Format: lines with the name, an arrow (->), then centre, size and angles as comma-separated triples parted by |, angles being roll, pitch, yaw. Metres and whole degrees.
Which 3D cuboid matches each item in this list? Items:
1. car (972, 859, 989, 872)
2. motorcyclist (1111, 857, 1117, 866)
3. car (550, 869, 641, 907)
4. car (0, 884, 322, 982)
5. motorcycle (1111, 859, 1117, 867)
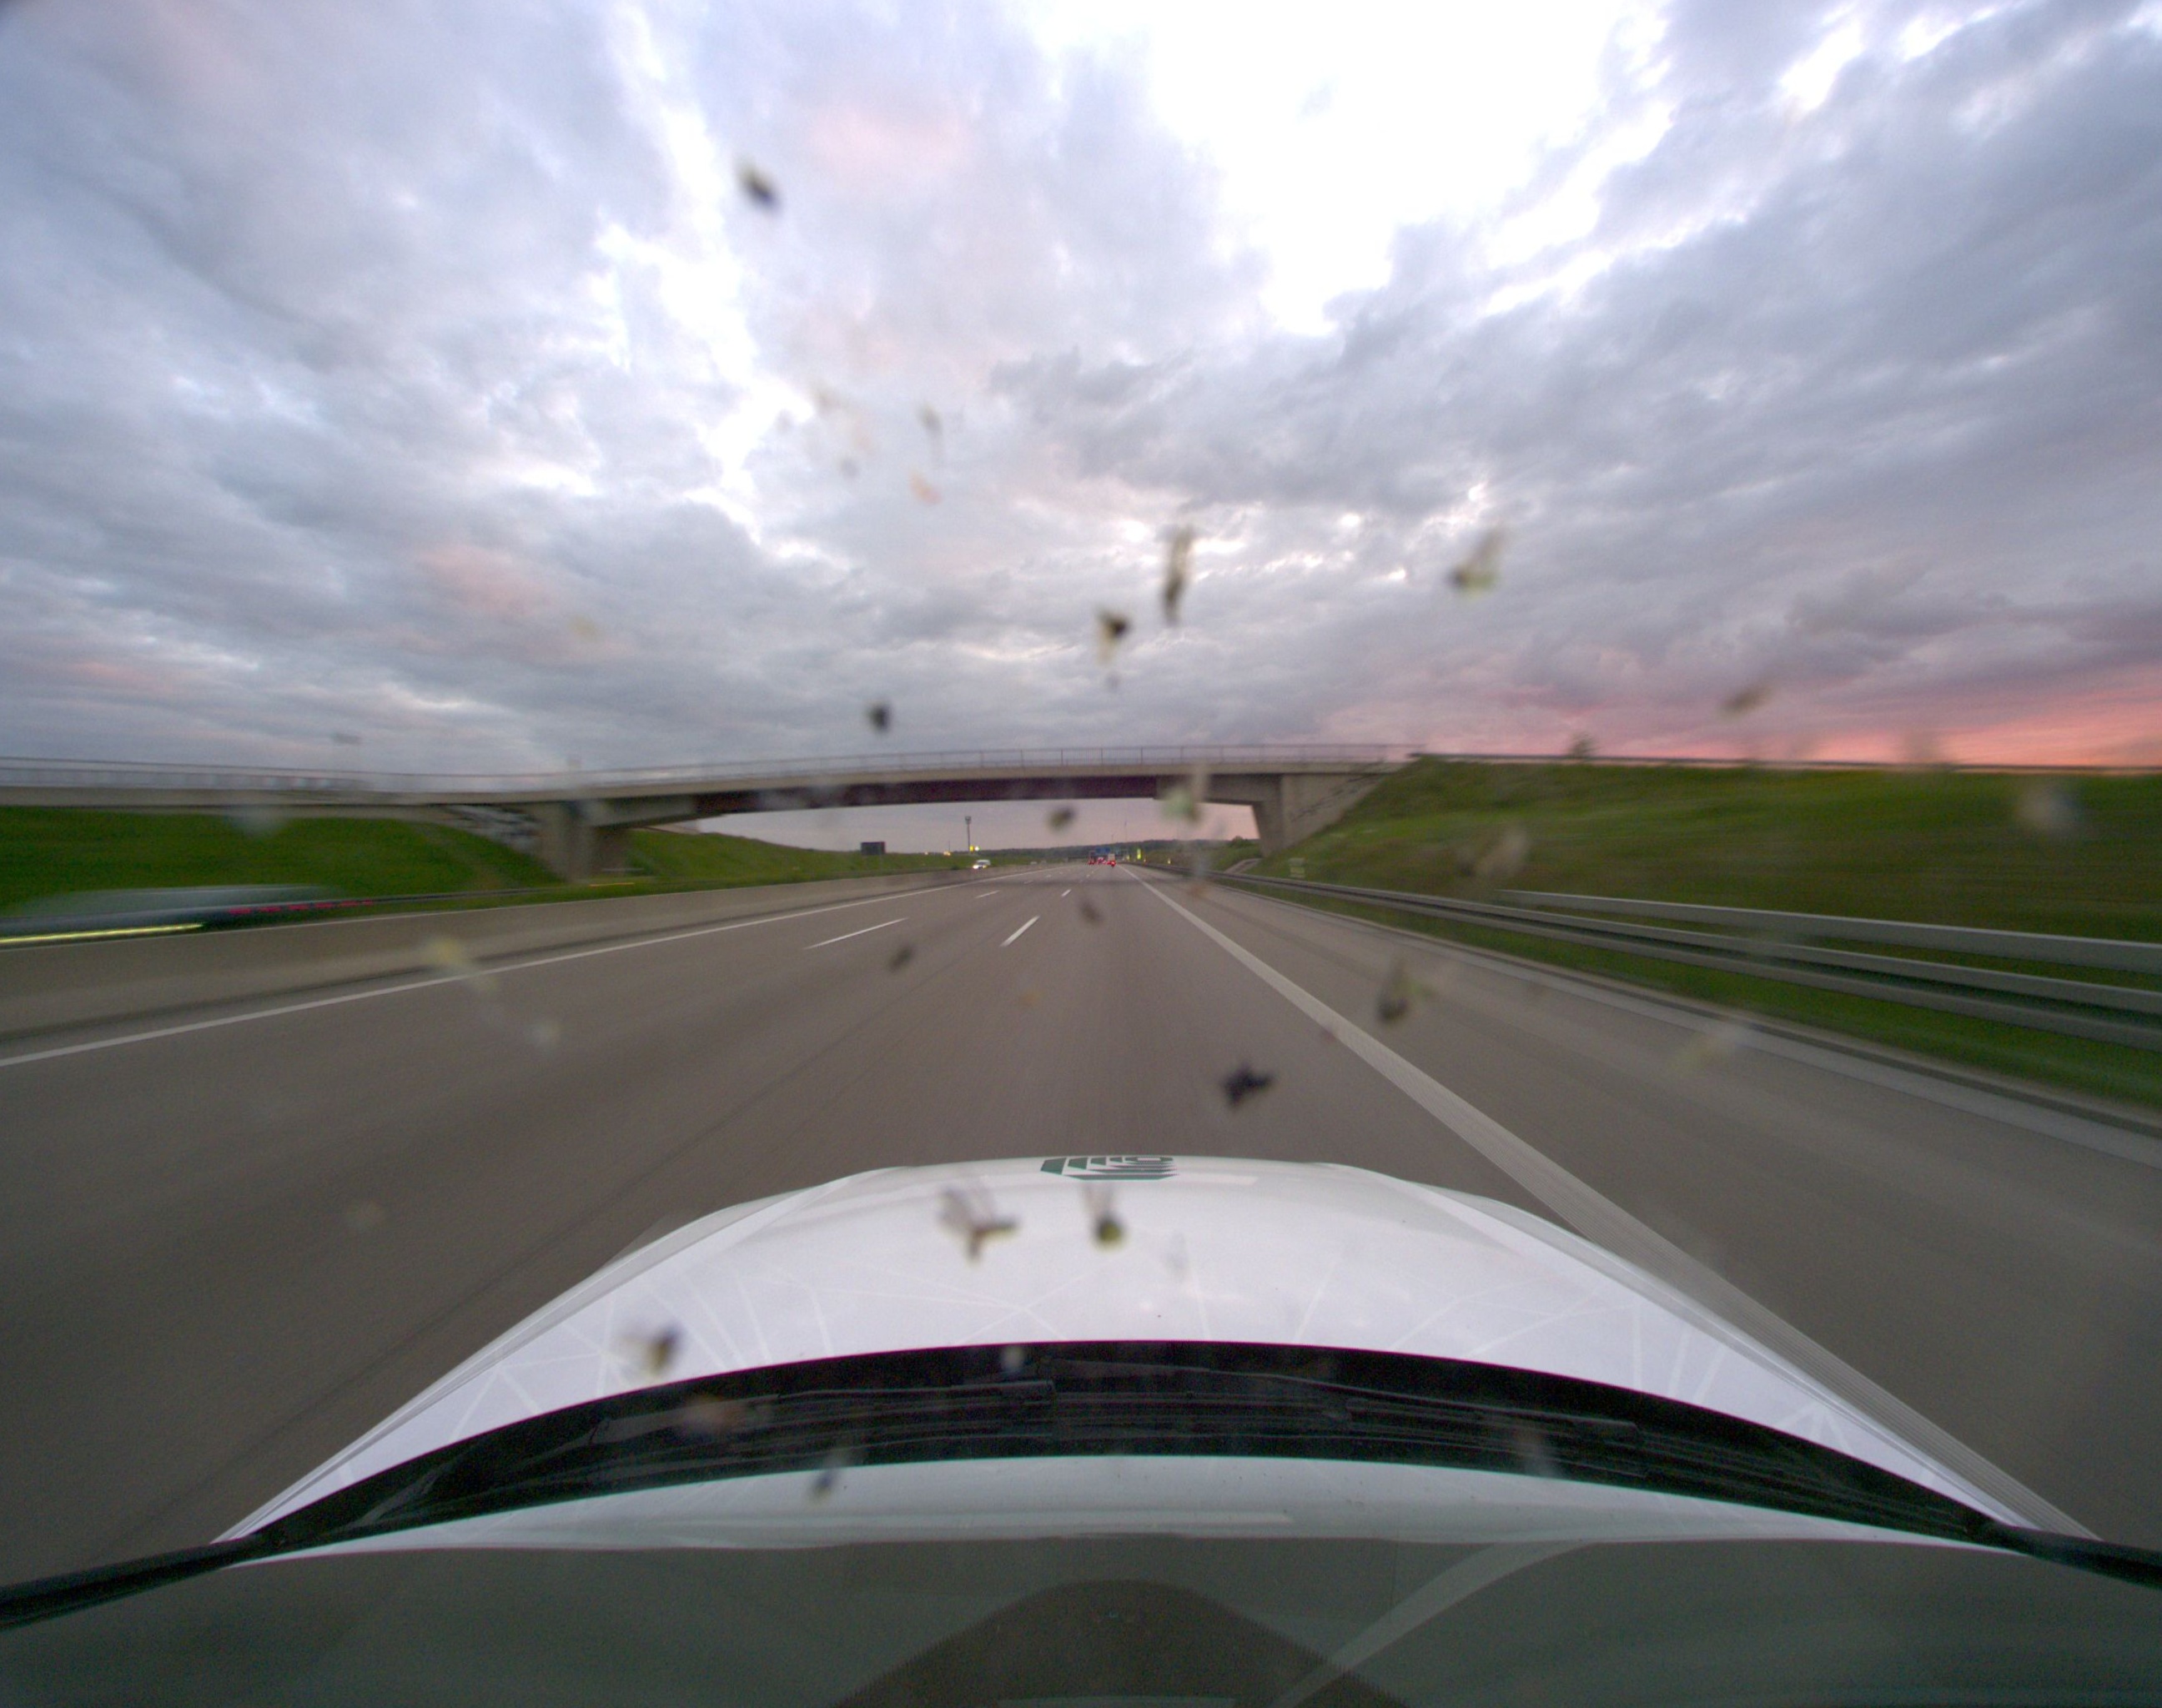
car -> -15.118, 1.731, 122.335 | 1.816, 1.935, 4.895 | 0, 0, 1
motorcyclist -> 5.431, 1.290, 133.281 | 0.862, 1.488, 1.169 | -1, 0, 3
car -> -21.853, 1.499, 36.824 | 1.596, 1.557, 4.001 | -1, 0, 2
car -> -18.303, 1.461, 16.452 | 1.747, 1.552, 4.363 | -1, 0, 2
motorcycle -> 5.443, 1.484, 133.396 | 0.898, 1.346, 2.350 | -2, 0, 2
